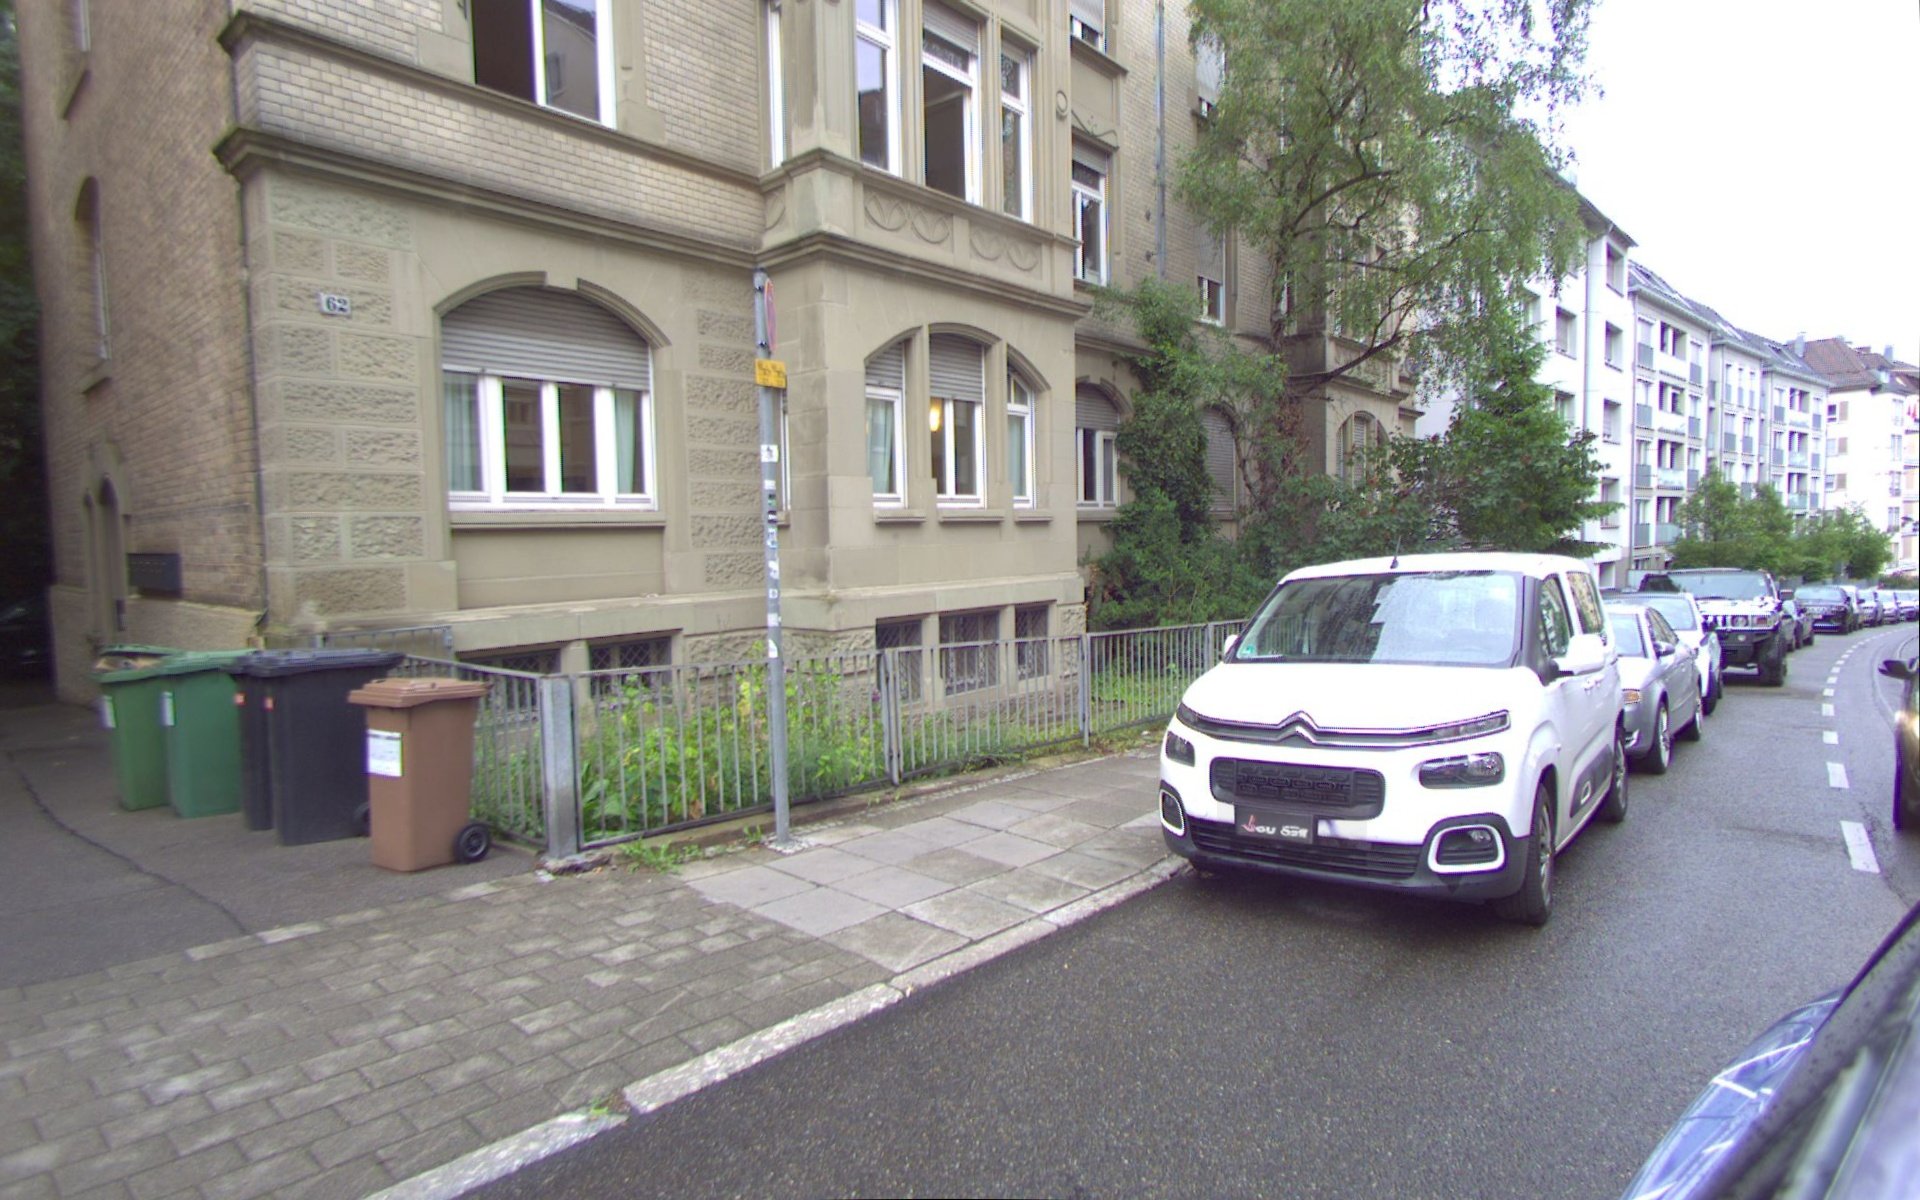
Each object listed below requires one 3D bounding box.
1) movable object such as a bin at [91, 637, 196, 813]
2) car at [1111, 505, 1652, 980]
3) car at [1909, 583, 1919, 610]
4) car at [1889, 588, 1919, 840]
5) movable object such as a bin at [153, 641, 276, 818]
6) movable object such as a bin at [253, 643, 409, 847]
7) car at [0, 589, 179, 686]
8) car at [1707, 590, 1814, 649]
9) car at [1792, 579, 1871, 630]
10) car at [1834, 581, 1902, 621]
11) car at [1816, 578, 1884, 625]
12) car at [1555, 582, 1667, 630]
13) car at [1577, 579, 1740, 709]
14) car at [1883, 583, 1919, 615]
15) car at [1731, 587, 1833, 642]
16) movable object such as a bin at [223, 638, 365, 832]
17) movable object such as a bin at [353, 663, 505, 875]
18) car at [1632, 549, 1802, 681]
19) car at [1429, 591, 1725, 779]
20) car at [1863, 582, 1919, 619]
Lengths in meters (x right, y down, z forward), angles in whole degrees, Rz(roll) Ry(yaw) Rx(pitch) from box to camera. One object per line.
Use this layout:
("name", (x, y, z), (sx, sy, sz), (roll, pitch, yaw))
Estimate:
("movable object such as a bin", (-5.593, 0.828, 6.932), (0.518, 1.116, 0.471), (-3, -1, 42))
("car", (2.834, 0.516, 6.092), (1.795, 1.787, 4.399), (-1, 0, 40))
("car", (57.108, -0.198, 59.121), (4.704, 1.534, 1.862), (-1, 2, -40))
("car", (7.530, 0.672, 6.832), (1.734, 1.472, 3.940), (2, 2, 41))
("movable object such as a bin", (-4.916, 0.821, 6.674), (0.495, 1.075, 0.547), (-3, -1, 41))
("movable object such as a bin", (-3.588, 0.784, 5.776), (0.653, 1.043, 0.528), (-1, -1, -43))
("car", (-17.186, 0.672, 18.819), (3.933, 1.529, 1.796), (7, -1, -45))
("car", (20.416, 0.437, 25.756), (3.819, 1.355, 1.679), (-1, 1, -44))
("car", (32.949, 0.110, 38.215), (1.943, 1.817, 4.743), (1, 2, 45))
("car", (41.374, 0.002, 46.079), (4.608, 1.676, 1.834), (-1, 2, -43))
("car", (37.097, 0.035, 42.151), (4.398, 1.817, 1.780), (-1, 2, -44))
("car", (20.726, 0.176, 32.167), (4.079, 1.444, 1.816), (0, 0, -39))
("car", (9.733, 0.512, 14.004), (1.557, 1.565, 3.533), (-1, 0, 40))
("car", (49.810, -0.078, 53.107), (1.975, 1.604, 4.495), (2, 2, 43))
("car", (23.673, 0.353, 29.095), (4.535, 1.455, 1.795), (-1, 1, -45))
("movable object such as a bin", (-4.066, 0.788, 6.180), (0.498, 1.075, 0.600), (-3, -1, 41))
("movable object such as a bin", (-2.665, 0.816, 5.090), (0.425, 0.931, 0.529), (3, 2, 38))
("car", (13.793, 0.208, 18.291), (2.126, 2.039, 5.272), (-1, 0, 40))
("car", (6.260, 0.643, 10.014), (1.747, 1.418, 4.411), (-1, 0, 41))
("car", (45.658, -0.013, 49.531), (4.587, 1.648, 1.834), (-1, 2, -44))
